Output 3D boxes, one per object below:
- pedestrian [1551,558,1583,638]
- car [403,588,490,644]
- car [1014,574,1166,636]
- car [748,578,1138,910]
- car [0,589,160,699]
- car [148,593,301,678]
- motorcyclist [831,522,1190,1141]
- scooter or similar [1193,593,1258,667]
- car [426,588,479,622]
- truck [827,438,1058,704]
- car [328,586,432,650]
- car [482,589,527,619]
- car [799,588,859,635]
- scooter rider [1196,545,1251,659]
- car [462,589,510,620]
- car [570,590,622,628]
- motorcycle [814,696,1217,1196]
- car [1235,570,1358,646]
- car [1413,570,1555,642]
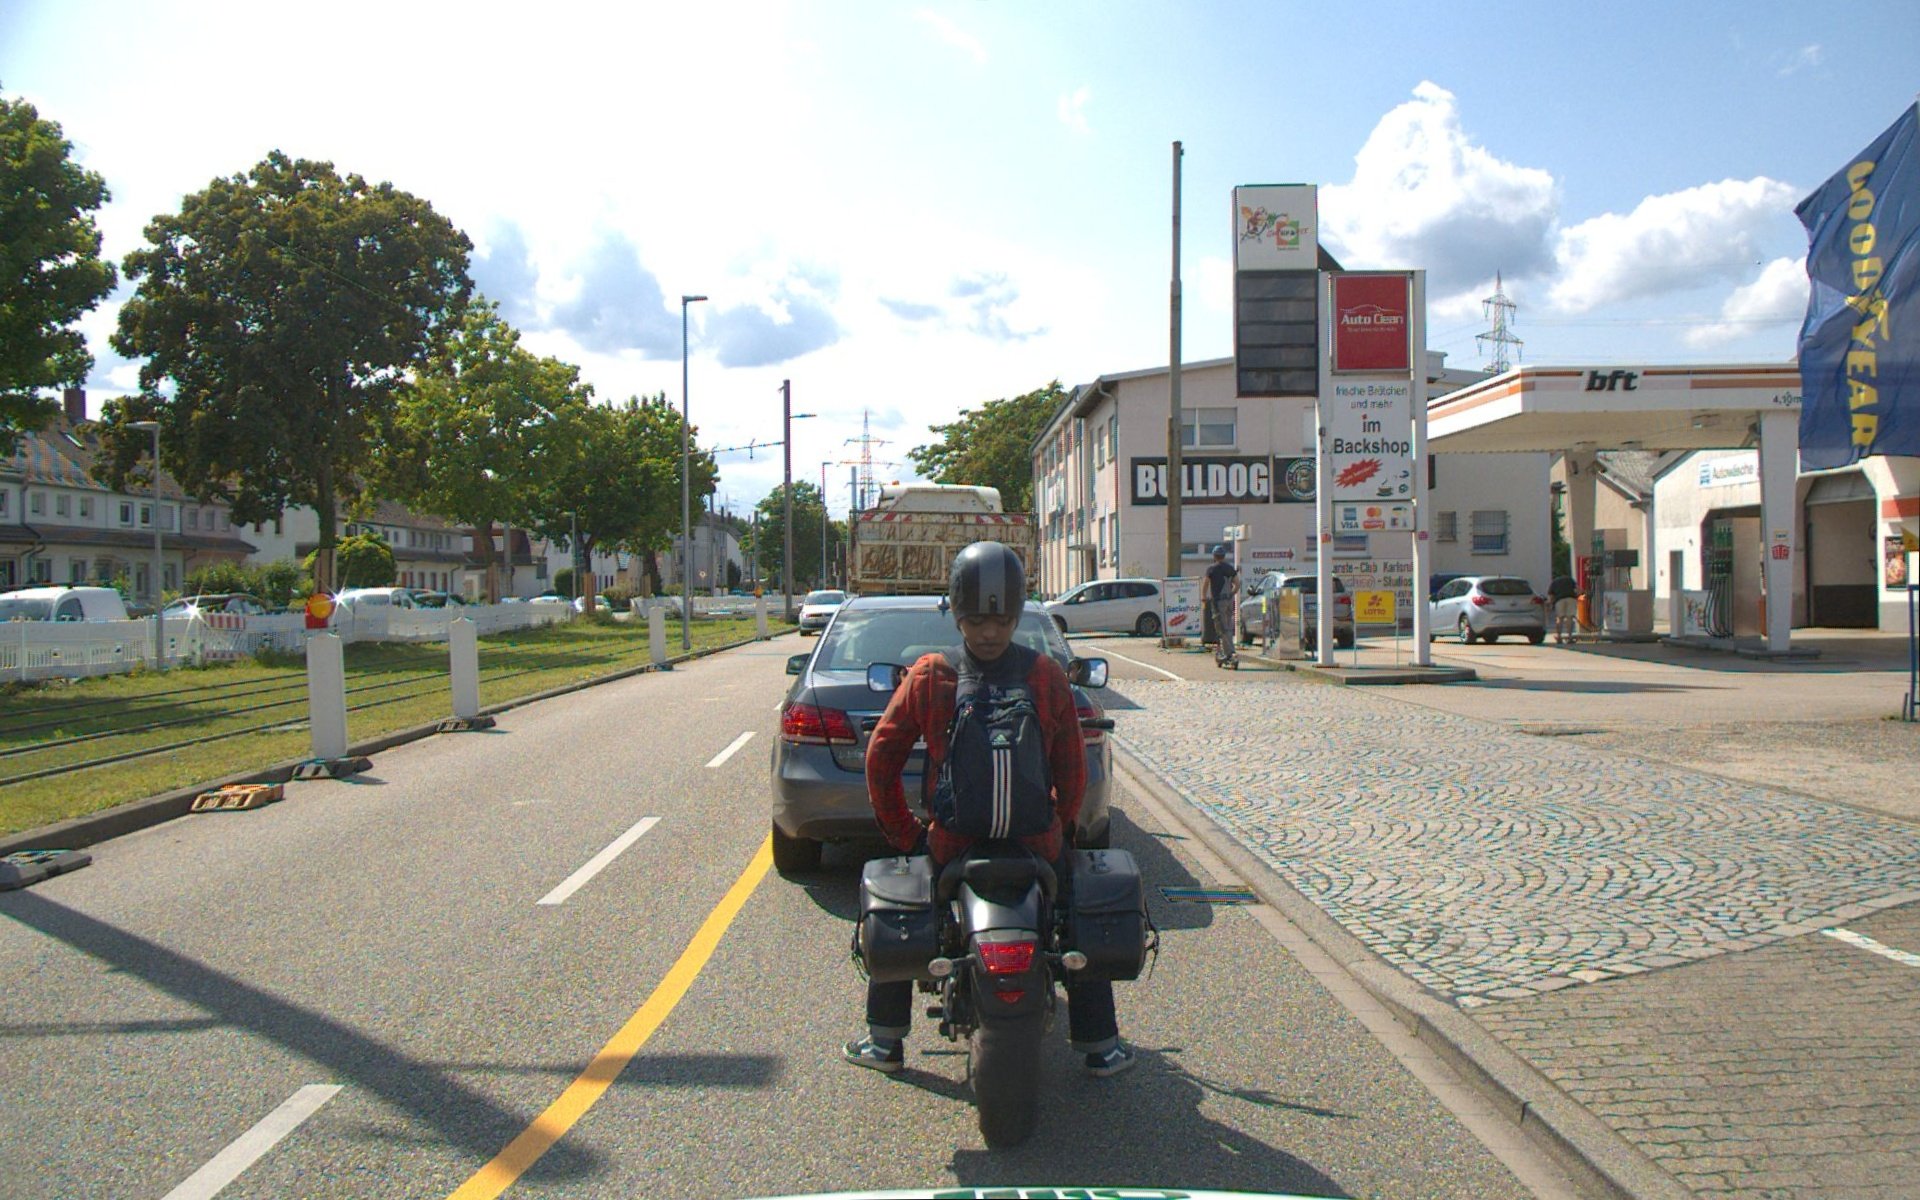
[{"bbox_3d":[13.135,-0.044,35.787,0.621,1.712,0.622,-1,0,20],"label":"pedestrian"},{"bbox_3d":[-17.019,0.502,54.976,1.664,1.770,3.860,-1,0,-1],"label":"car"},{"bbox_3d":[3.671,0.122,47.079,4.029,1.652,1.682,-1,0,-9],"label":"car"},{"bbox_3d":[-0.138,0.652,9.734,1.795,1.505,4.008,-1,0,-2],"label":"car"},{"bbox_3d":[-16.417,0.748,30.289,1.664,1.849,3.860,-1,0,-1],"label":"car"},{"bbox_3d":[-16.672,0.762,37.713,1.664,1.770,4.053,-1,0,-1],"label":"car"},{"bbox_3d":[0.129,0.622,5.071,0.950,1.662,1.214,1,0,-1],"label":"motorcyclist"},{"bbox_3d":[4.350,0.478,27.171,0.779,1.165,1.519,-1,0,-1],"label":"scooter or similar"},{"bbox_3d":[-28.181,0.250,91.930,1.664,1.770,4.061,-1,0,-1],"label":"car"},{"bbox_3d":[-0.355,-0.418,25.464,2.910,3.362,8.404,-1,0,-2],"label":"truck"},{"bbox_3d":[-16.985,0.499,48.609,1.664,1.770,3.860,-1,0,-1],"label":"car"},{"bbox_3d":[-28.664,0.235,104.143,1.664,1.770,4.061,-1,0,-1],"label":"car"},{"bbox_3d":[-4.298,0.345,54.589,1.680,1.438,4.261,-1,0,-1],"label":"car"},{"bbox_3d":[4.337,0.027,27.253,0.779,1.850,0.508,-1,0,-1],"label":"scooter rider"},{"bbox_3d":[-28.060,0.266,97.987,1.664,1.770,4.061,-1,0,-1],"label":"car"},{"bbox_3d":[-17.492,0.410,79.681,1.664,1.770,3.860,-1,0,-1],"label":"car"},{"bbox_3d":[0.118,0.904,5.189,0.956,1.031,2.431,1,0,-1],"label":"motorcycle"},{"bbox_3d":[7.402,0.146,36.750,1.795,1.562,4.008,-1,0,-2],"label":"car"},{"bbox_3d":[11.773,0.106,37.415,1.795,1.505,4.008,-1,0,-2],"label":"car"}]
